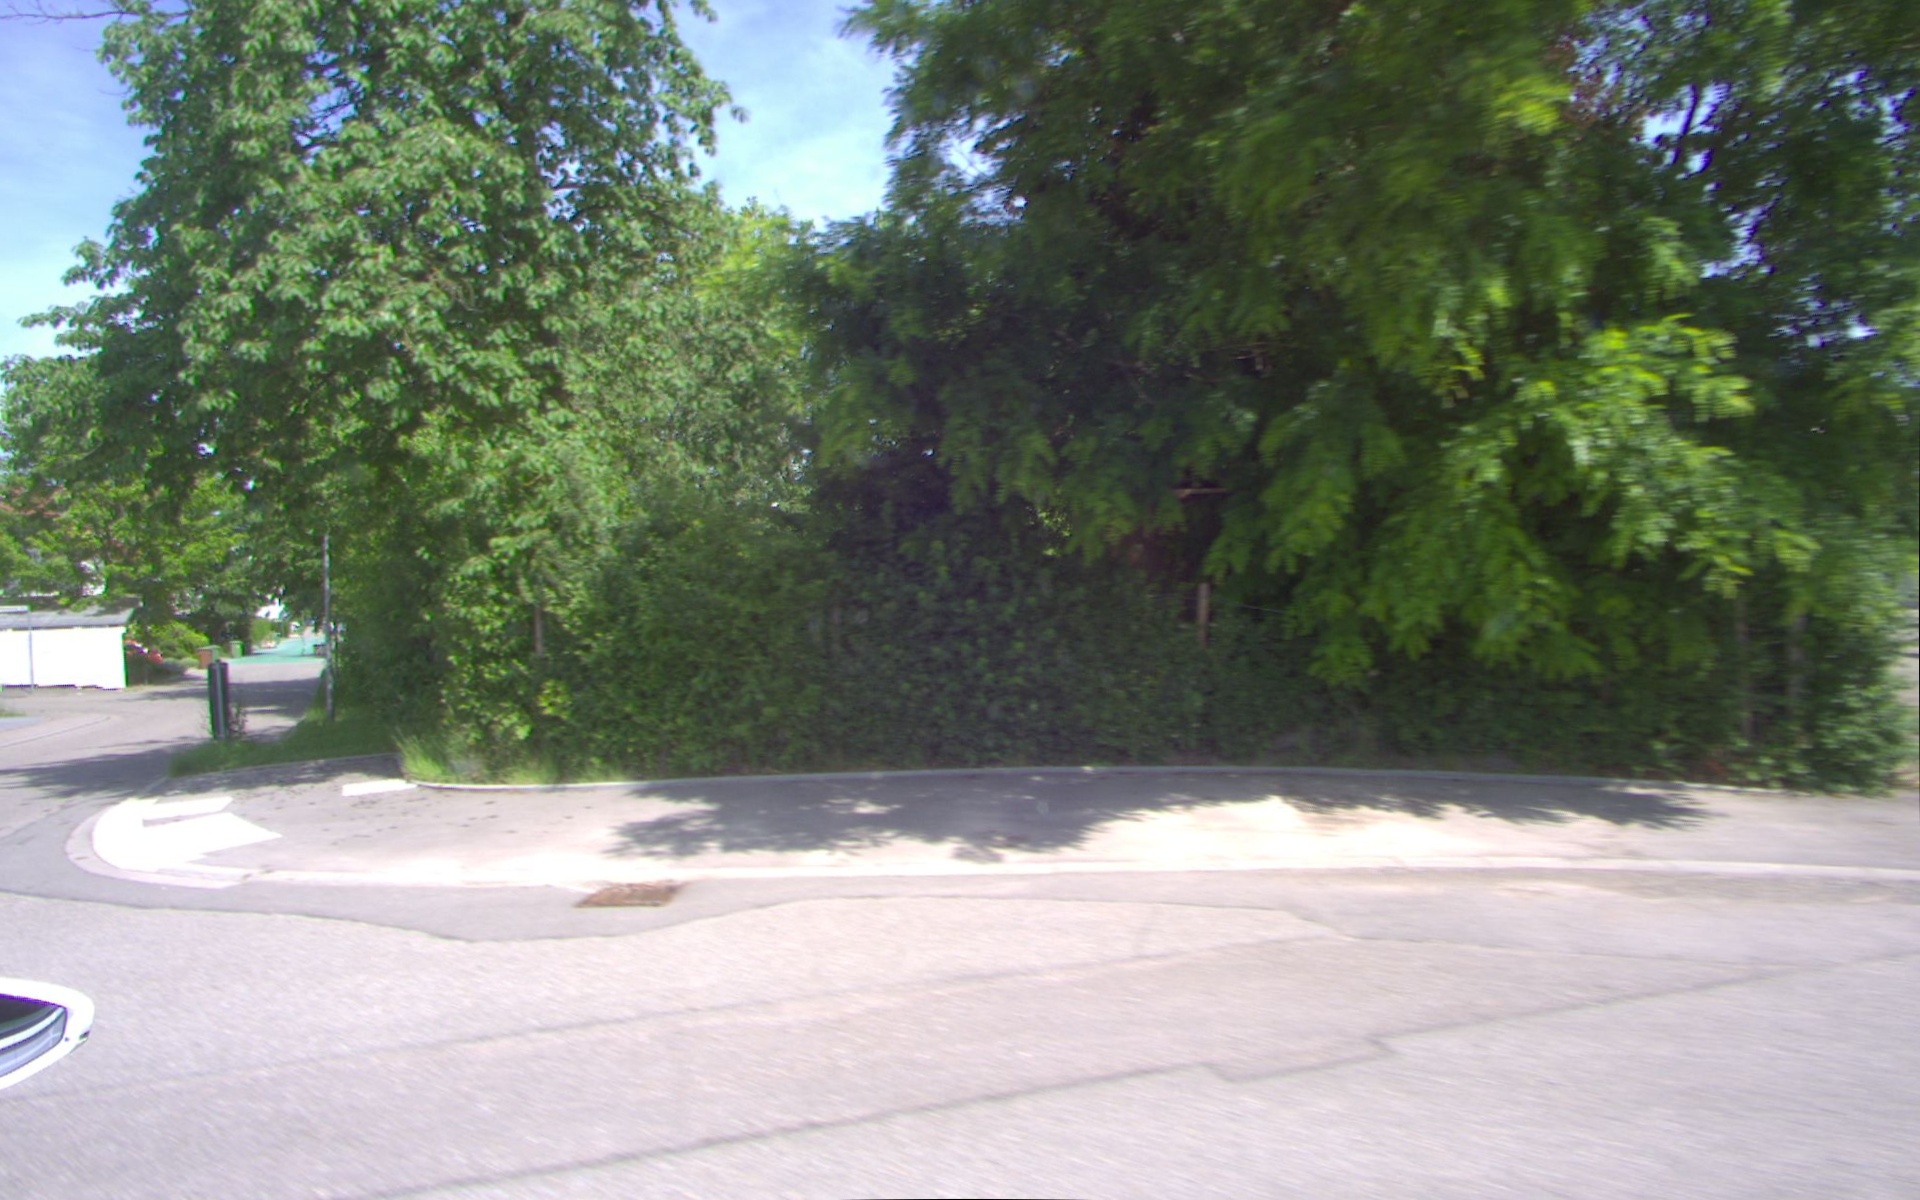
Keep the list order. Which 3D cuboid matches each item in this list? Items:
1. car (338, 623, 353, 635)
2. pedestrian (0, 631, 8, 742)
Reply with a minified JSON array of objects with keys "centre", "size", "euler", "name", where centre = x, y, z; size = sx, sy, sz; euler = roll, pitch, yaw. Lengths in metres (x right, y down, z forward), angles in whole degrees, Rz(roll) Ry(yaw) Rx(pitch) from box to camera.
[{"centre":[-81.370,3.832,132.608],"size":[1.563,1.439,3.206],"euler":[-1,2,-35],"name":"car"},{"centre":[-16.505,1.457,16.671],"size":[0.838,1.843,0.829],"euler":[-1,-1,-37],"name":"pedestrian"}]
